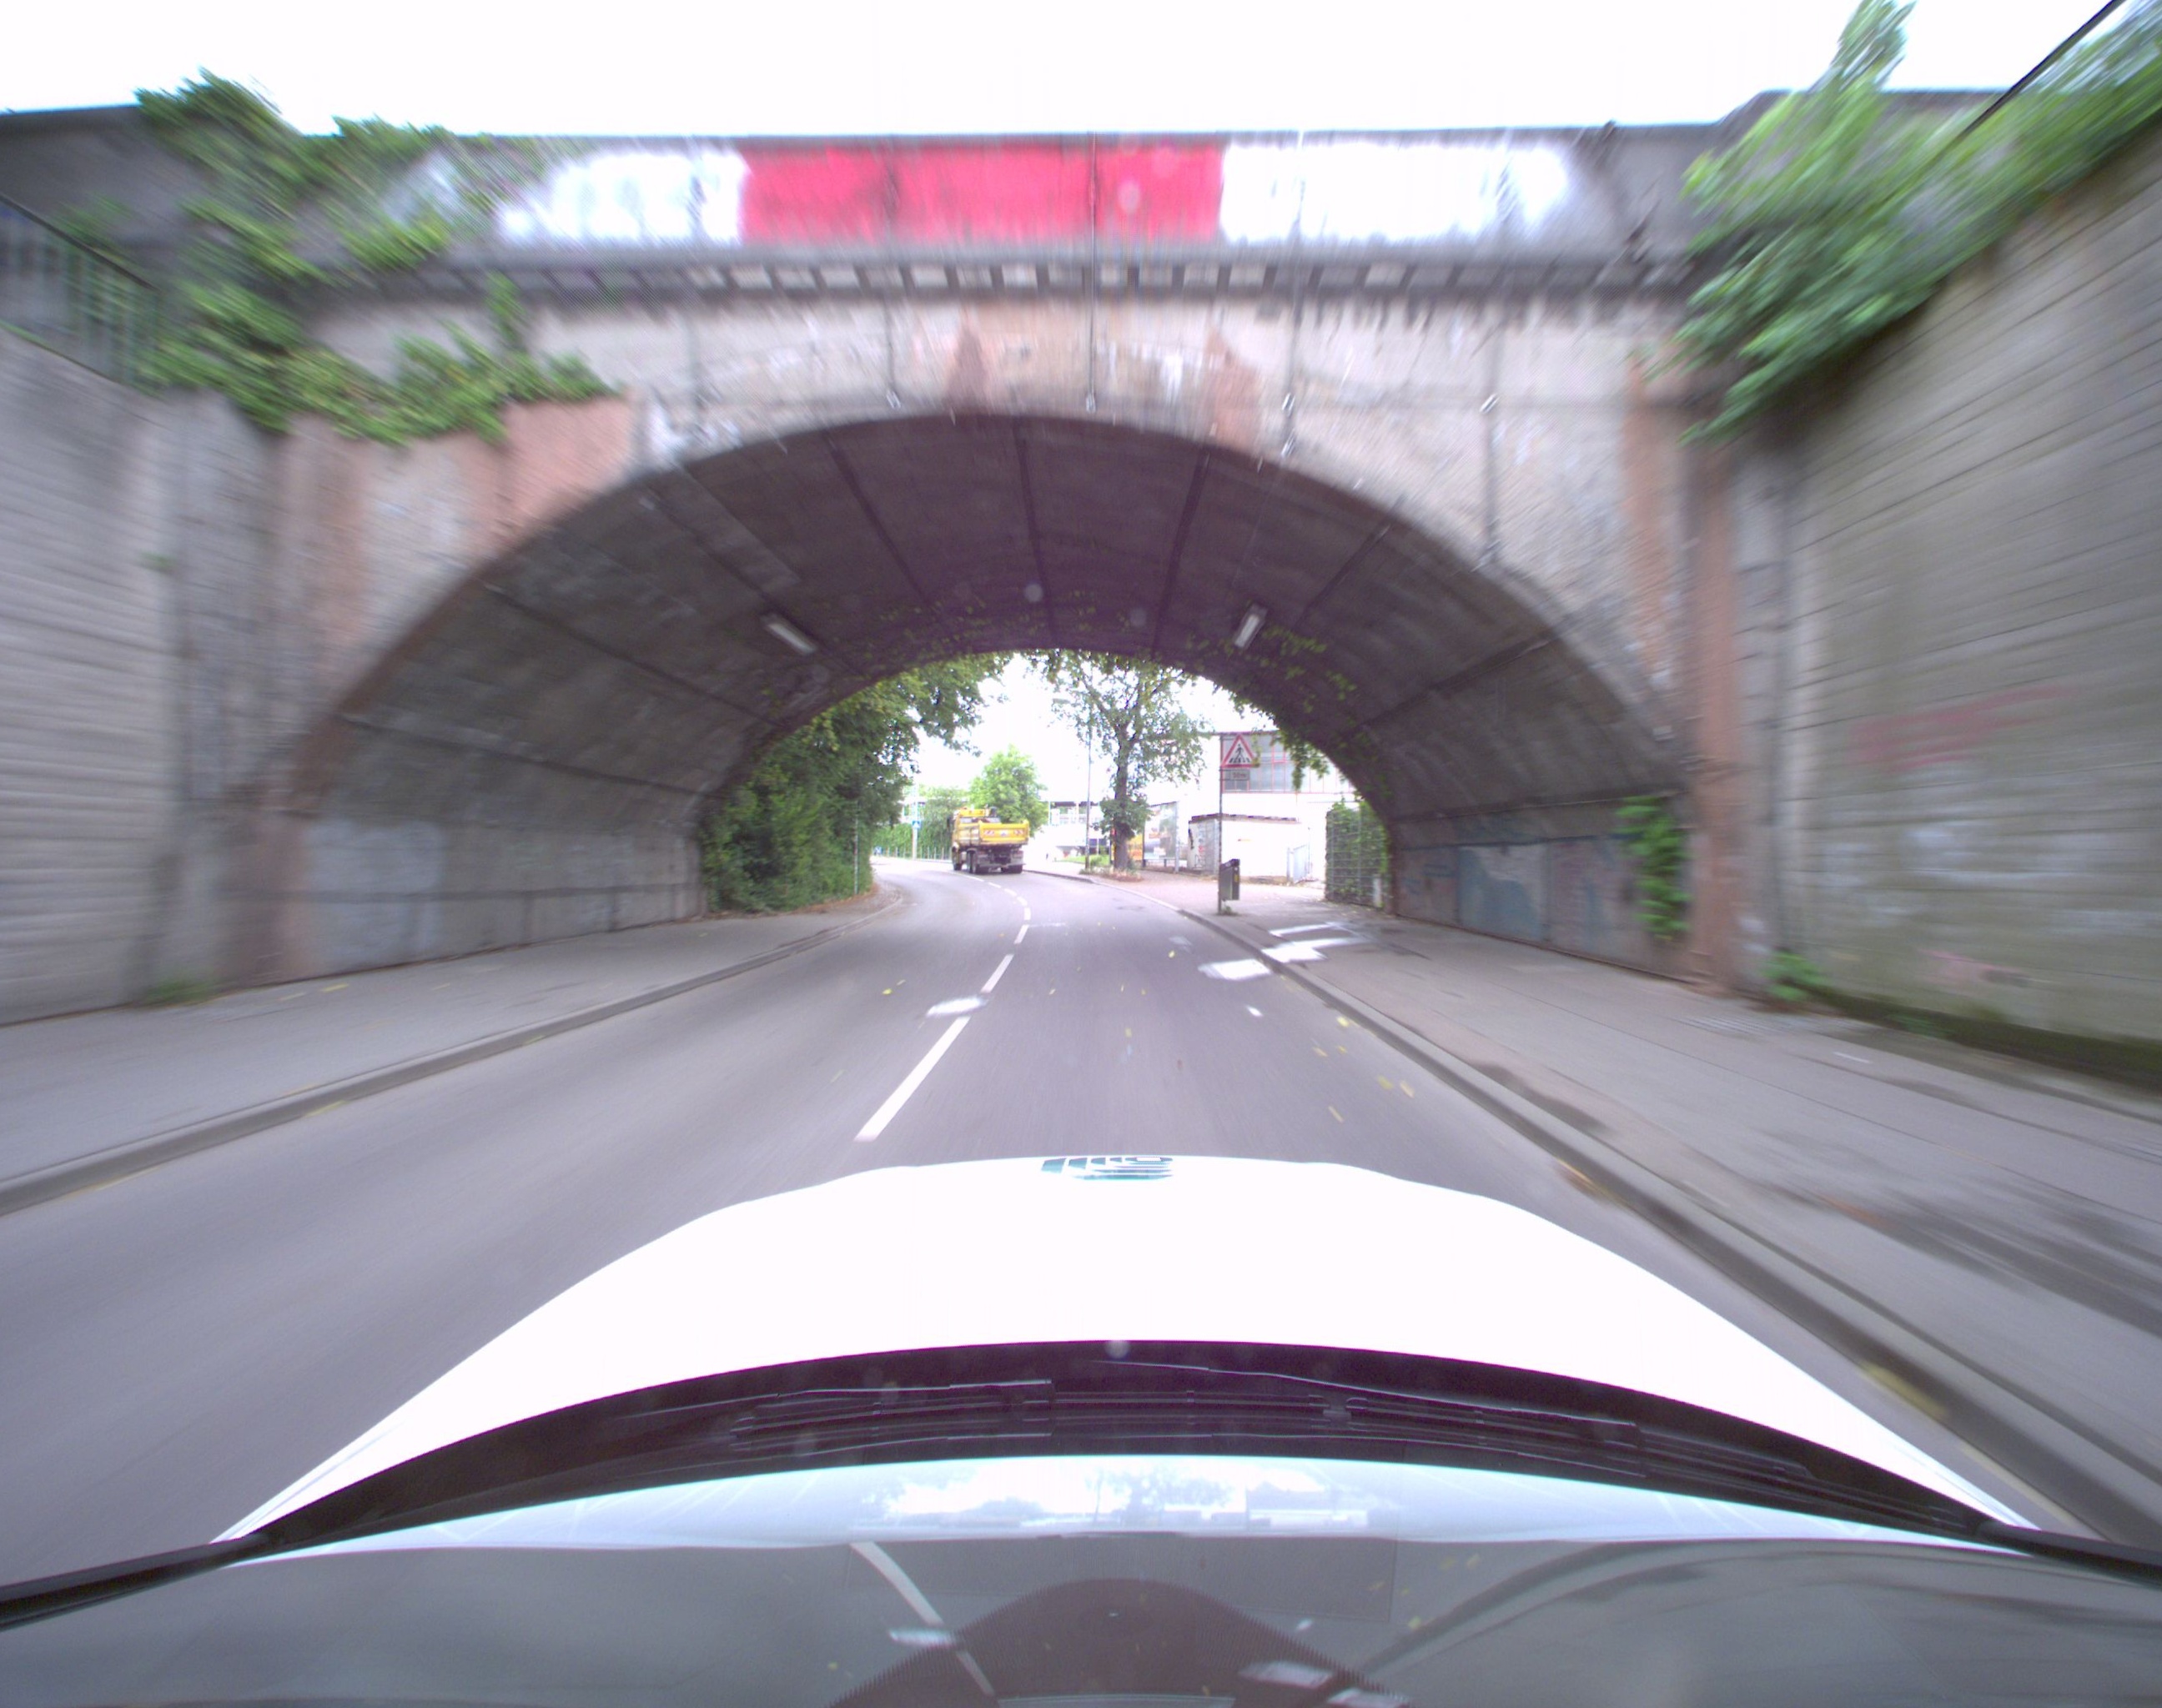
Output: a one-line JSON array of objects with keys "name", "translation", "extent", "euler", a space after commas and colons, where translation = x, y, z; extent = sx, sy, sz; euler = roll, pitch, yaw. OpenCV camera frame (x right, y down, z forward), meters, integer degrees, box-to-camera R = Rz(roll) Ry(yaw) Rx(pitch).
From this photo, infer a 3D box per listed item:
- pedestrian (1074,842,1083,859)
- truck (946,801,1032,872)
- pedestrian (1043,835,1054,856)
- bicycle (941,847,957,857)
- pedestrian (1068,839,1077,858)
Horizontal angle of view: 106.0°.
[{"name": "pedestrian", "translation": [-0.240, -0.353, 75.986], "extent": [0.796, 1.583, 0.802], "euler": [1, -1, 2]}, {"name": "truck", "translation": [-5.125, -1.036, 43.953], "extent": [2.774, 3.482, 8.076], "euler": [0, 3, -20]}, {"name": "pedestrian", "translation": [-2.666, -0.672, 66.502], "extent": [0.845, 1.684, 0.939], "euler": [0, -1, -1]}, {"name": "bicycle", "translation": [-13.665, -0.232, 84.381], "extent": [1.492, 0.989, 0.690], "euler": [4, -1, -20]}, {"name": "pedestrian", "translation": [-0.773, -0.470, 74.442], "extent": [0.811, 1.703, 0.749], "euler": [1, -1, 2]}]
